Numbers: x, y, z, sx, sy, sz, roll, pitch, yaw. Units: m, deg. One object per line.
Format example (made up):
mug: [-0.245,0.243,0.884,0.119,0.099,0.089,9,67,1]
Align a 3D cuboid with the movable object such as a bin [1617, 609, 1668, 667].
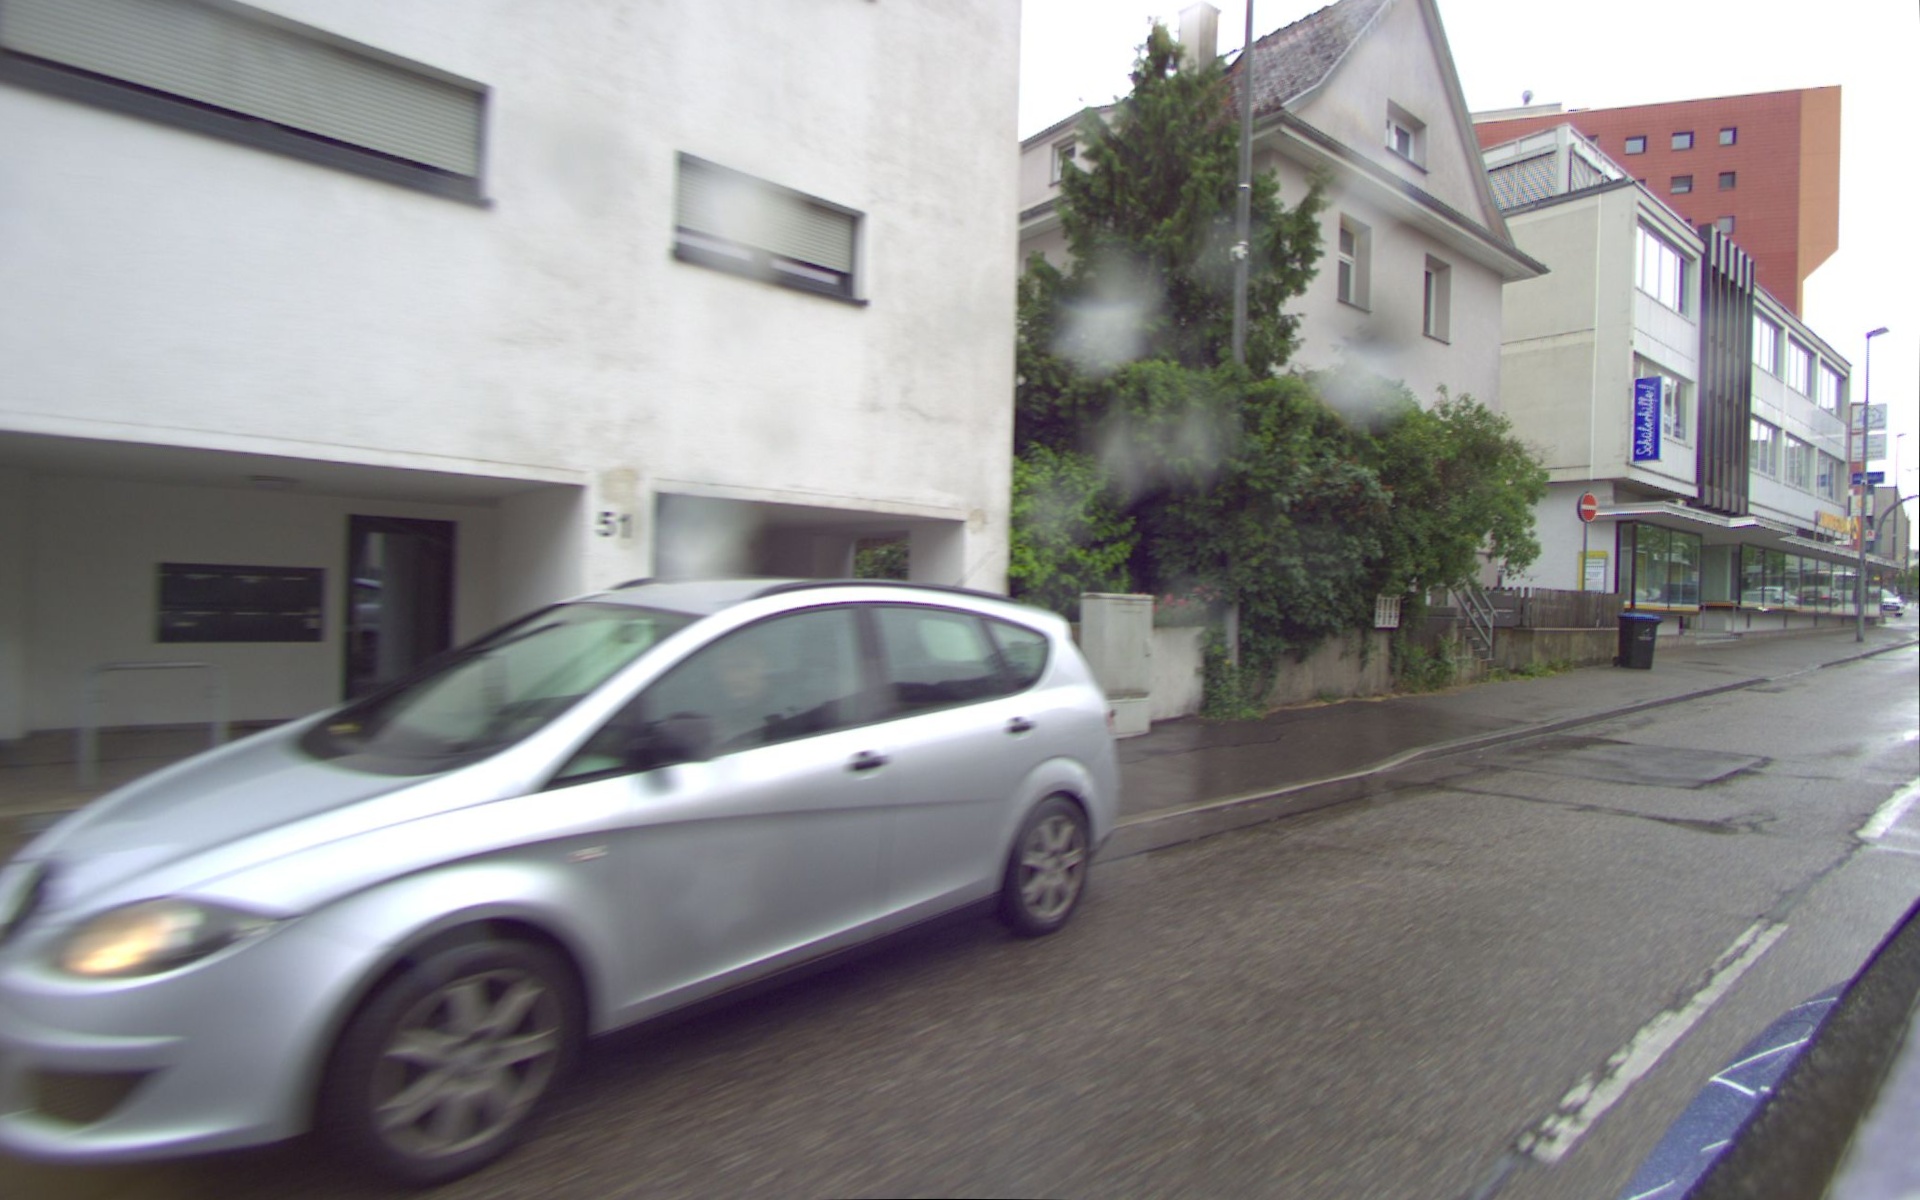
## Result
movable object such as a bin: [13.248,0.731,19.648,0.816,1.061,0.577,2,1,-41]

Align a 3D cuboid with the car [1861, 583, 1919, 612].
car: [52.352,-0.170,56.661,1.596,1.480,3.402,2,2,20]

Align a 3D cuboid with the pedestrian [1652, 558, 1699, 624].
pedestrian: [19.854,-0.252,28.074,0.934,1.803,0.732,2,0,-33]

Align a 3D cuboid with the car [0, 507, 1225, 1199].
car: [-1.007,0.561,4.004,4.288,1.642,2.014,-3,3,-43]
